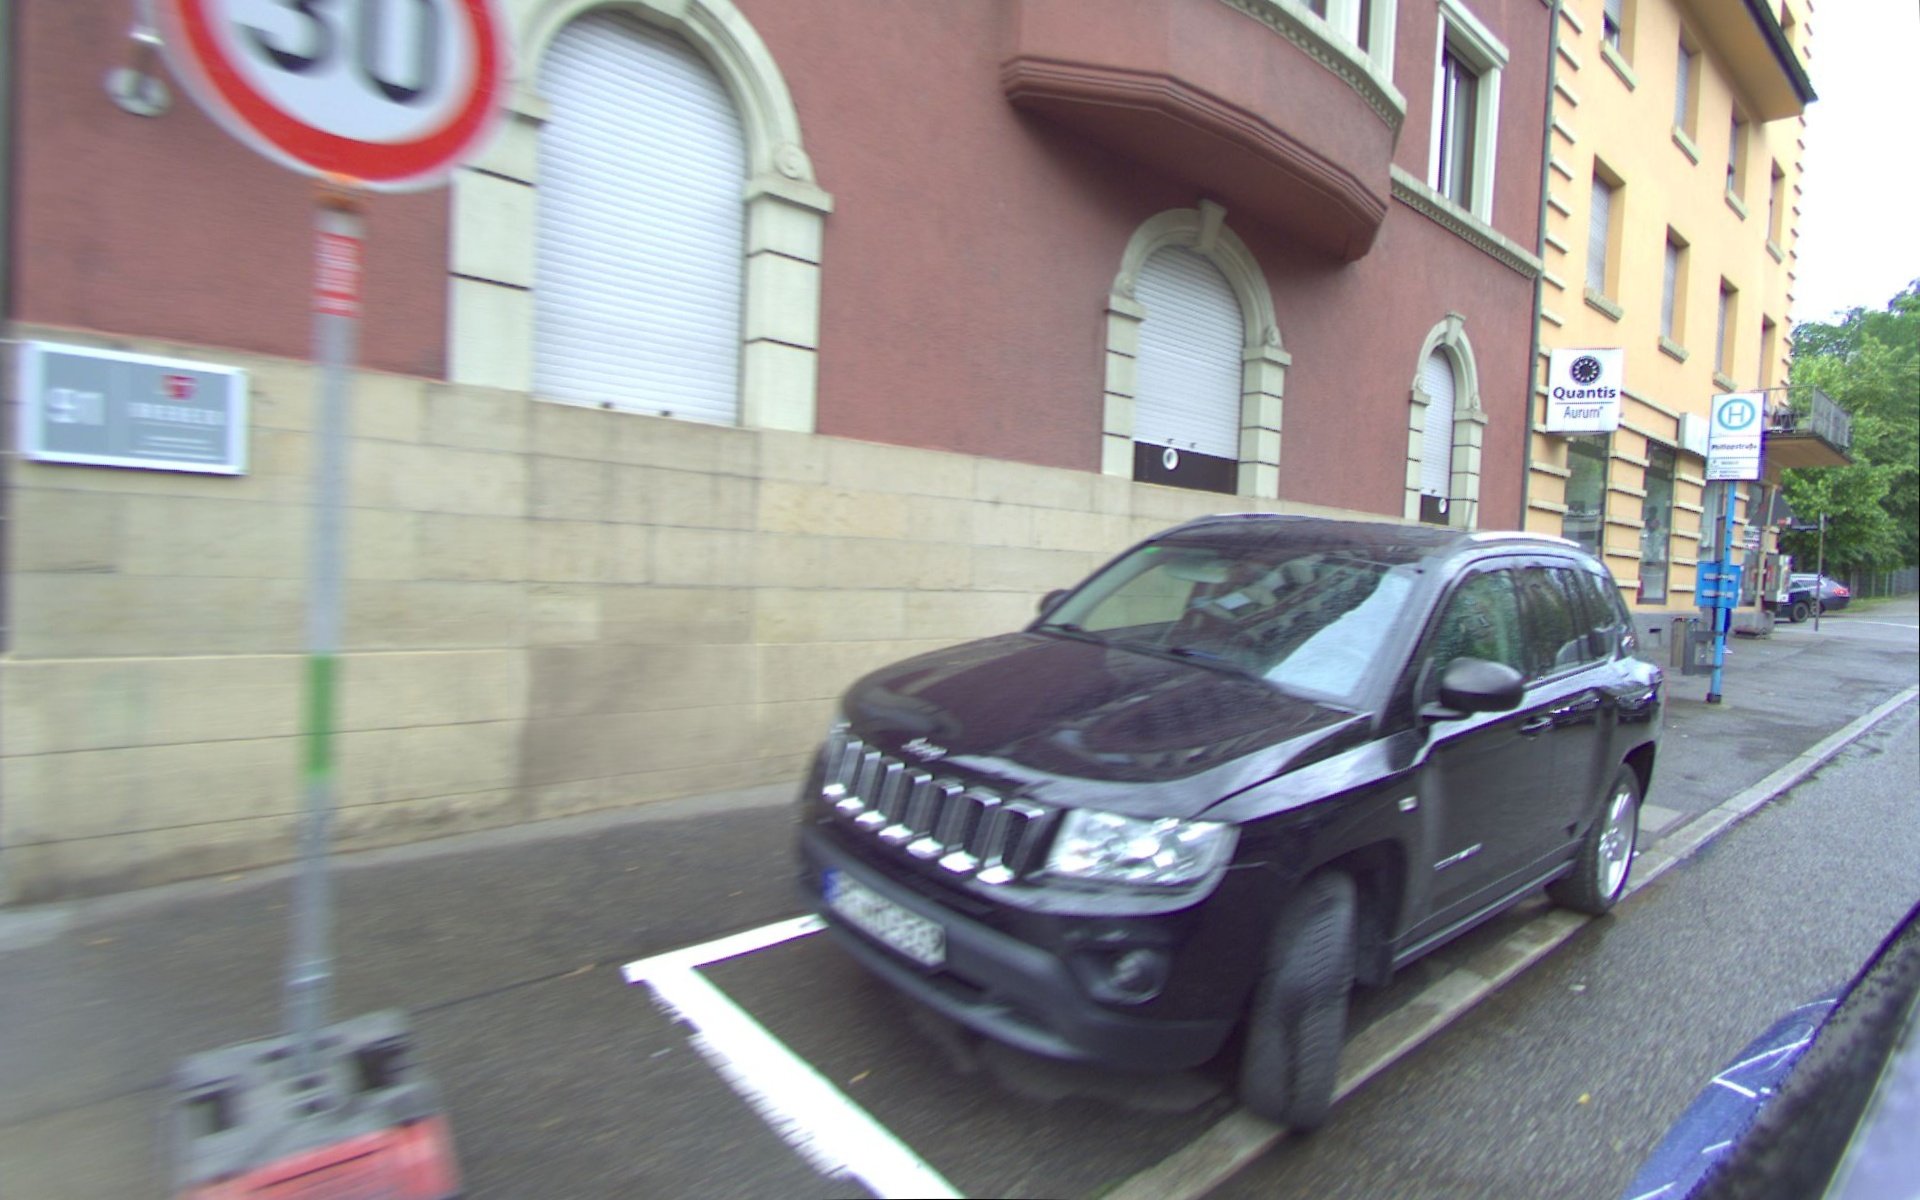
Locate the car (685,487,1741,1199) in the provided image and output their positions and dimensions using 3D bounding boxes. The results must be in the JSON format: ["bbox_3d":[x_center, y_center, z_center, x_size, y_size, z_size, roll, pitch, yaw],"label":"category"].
[{"bbox_3d":[1.428,0.440,4.195,4.617,1.648,1.882,-3,8,-41],"label":"car"}]

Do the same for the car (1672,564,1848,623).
[{"bbox_3d":[24.178,-0.222,30.660,4.027,1.487,1.858,-4,1,-8],"label":"car"}]

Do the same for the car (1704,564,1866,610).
[{"bbox_3d":[28.996,-0.414,35.644,4.268,1.517,1.971,-1,0,45],"label":"car"}]

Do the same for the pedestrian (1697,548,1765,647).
[{"bbox_3d":[12.972,-0.061,17.057,0.762,1.608,0.705,2,4,30],"label":"pedestrian"}]
